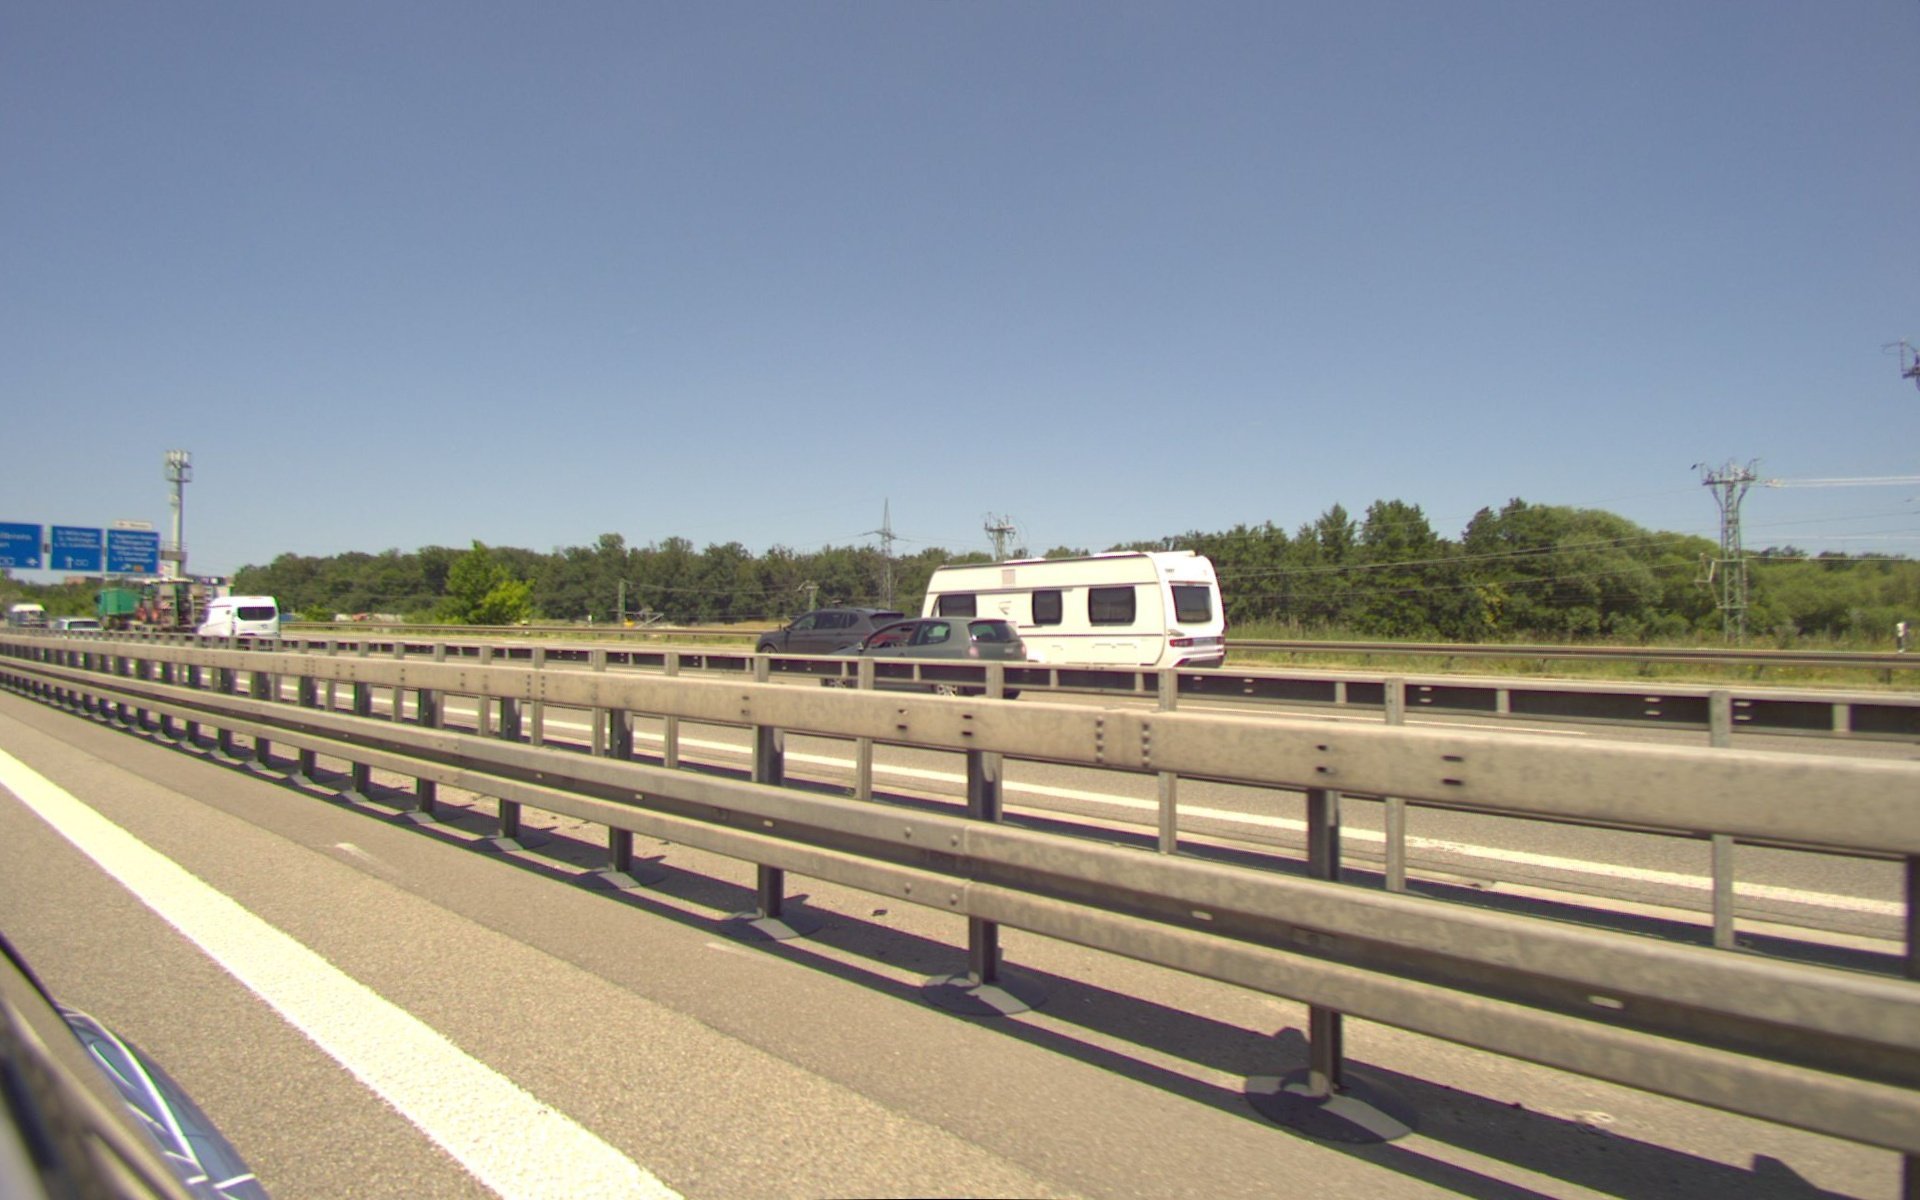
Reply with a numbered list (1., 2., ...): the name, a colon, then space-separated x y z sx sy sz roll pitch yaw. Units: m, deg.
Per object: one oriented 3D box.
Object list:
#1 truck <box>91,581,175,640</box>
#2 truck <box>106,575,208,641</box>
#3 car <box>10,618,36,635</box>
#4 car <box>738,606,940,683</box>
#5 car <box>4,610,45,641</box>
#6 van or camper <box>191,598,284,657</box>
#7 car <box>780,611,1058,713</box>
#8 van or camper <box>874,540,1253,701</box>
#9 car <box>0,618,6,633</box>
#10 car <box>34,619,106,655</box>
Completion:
1. truck: -58.966 0.782 72.052 8.580 3.953 3.381 -1 -1 42
2. truck: -53.153 0.608 66.772 12.238 4.013 3.350 -1 -1 42
3. car: -117.388 3.357 126.805 3.998 2.029 1.973 -1 0 41
4. car: -3.015 1.015 24.478 4.990 1.671 2.044 -1 -1 41
5. car: -67.569 1.820 73.071 3.998 2.198 1.762 -1 -1 41
6. van or camper: -31.045 1.155 43.408 5.072 2.358 1.974 -1 -1 39
7. car: -0.835 0.982 17.883 4.886 1.520 1.973 -1 0 41
8. van or camper: 1.771 0.416 20.293 7.600 2.677 2.313 -1 -1 41
9. car: -130.185 3.464 136.384 3.998 2.029 1.973 -1 0 41
10. car: -39.650 1.605 45.075 3.996 1.477 1.763 -1 0 39
